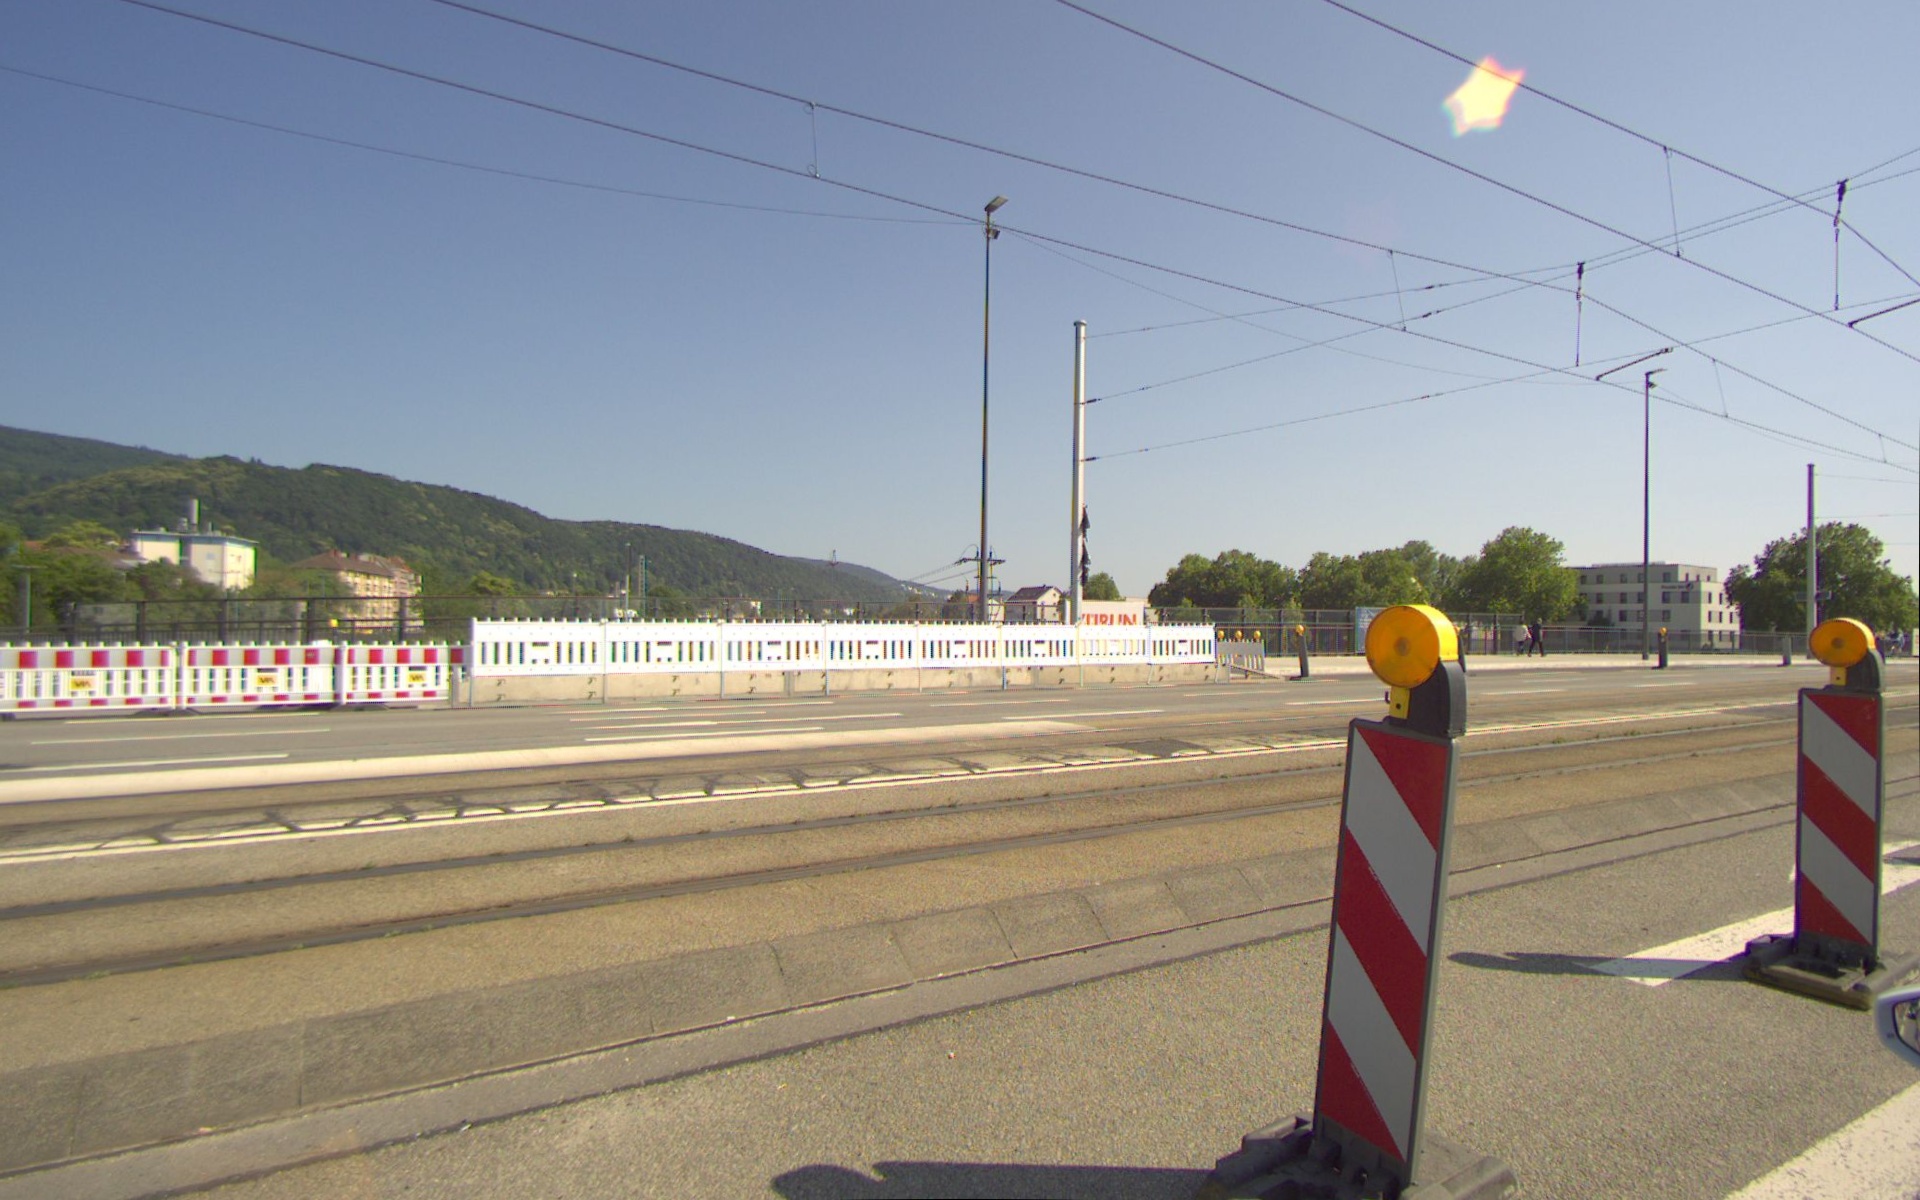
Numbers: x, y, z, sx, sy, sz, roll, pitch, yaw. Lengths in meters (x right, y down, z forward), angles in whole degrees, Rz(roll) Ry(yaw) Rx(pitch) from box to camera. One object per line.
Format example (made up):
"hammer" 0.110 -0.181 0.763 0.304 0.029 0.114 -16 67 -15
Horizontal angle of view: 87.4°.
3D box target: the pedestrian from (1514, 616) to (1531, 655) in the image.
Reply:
"pedestrian" 25.123 1.575 44.862 0.468 1.717 0.493 2 0 -30

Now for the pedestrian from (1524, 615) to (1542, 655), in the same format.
"pedestrian" 25.202 1.549 44.192 0.468 1.717 0.493 2 0 -30

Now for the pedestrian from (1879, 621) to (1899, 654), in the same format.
"pedestrian" 54.449 2.203 58.871 0.743 1.919 0.631 1 0 -30
